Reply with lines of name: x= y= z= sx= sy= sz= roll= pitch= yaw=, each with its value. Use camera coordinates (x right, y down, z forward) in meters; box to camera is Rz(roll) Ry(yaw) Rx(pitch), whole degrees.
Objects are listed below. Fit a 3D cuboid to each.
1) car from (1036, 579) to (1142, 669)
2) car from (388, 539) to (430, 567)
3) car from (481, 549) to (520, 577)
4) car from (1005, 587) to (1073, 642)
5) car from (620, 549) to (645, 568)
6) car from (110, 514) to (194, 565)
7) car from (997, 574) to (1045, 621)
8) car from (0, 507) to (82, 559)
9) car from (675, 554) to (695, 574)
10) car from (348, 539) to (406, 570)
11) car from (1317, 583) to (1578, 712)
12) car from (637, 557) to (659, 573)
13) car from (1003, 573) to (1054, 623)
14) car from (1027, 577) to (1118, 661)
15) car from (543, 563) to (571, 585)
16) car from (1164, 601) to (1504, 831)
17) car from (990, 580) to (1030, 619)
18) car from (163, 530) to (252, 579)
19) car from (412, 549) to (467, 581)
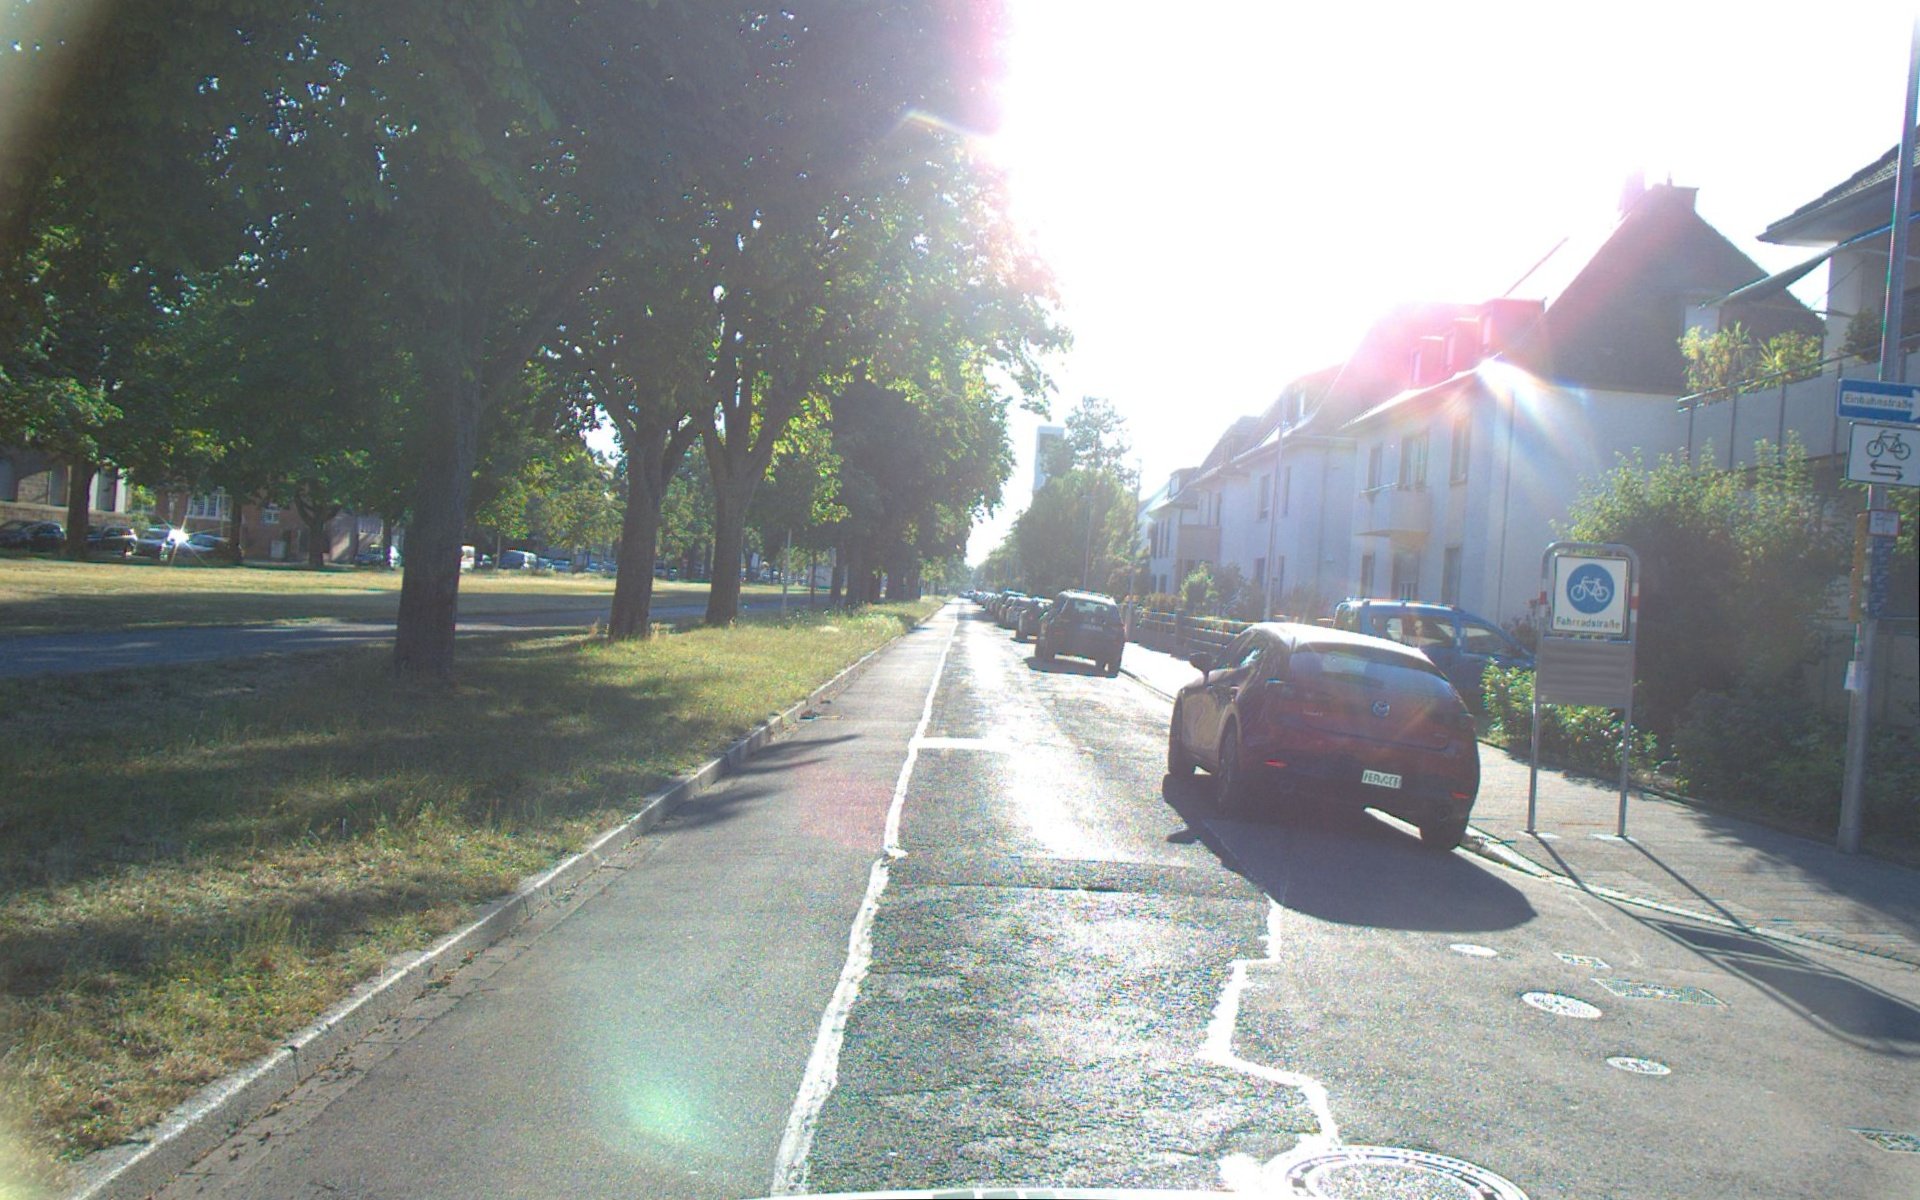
car: x=2.987 y=0.510 z=39.055 sx=1.954 sy=1.811 sz=4.000 roll=6 pitch=1 yaw=-1
car: x=-38.960 y=-3.297 z=116.956 sx=1.607 sy=1.671 sz=3.853 roll=6 pitch=-1 yaw=-2
car: x=-34.254 y=-2.743 z=123.340 sx=1.694 sy=1.718 sz=3.877 roll=6 pitch=-2 yaw=-2
car: x=2.673 y=0.494 z=56.854 sx=1.953 sy=1.682 sz=3.999 roll=5 pitch=-1 yaw=-1
car: x=-38.904 y=-4.946 z=196.349 sx=1.954 sy=1.946 sz=3.999 roll=6 pitch=-1 yaw=0
car: x=-38.878 y=-2.889 z=79.719 sx=1.954 sy=2.048 sz=3.998 roll=6 pitch=-1 yaw=-2
car: x=3.012 y=-0.116 z=82.524 sx=1.954 sy=2.048 sz=3.999 roll=6 pitch=-1 yaw=-1
car: x=-38.625 y=-2.811 z=68.896 sx=1.827 sy=1.833 sz=3.915 roll=6 pitch=-1 yaw=0
car: x=-31.573 y=-4.125 z=190.037 sx=1.621 sy=1.971 sz=3.566 roll=6 pitch=-2 yaw=-1
car: x=-38.160 y=-2.962 z=108.399 sx=1.953 sy=1.687 sz=4.355 roll=6 pitch=-1 yaw=1
car: x=8.329 y=0.851 z=28.434 sx=3.909 sy=1.854 sz=1.758 roll=4 pitch=-5 yaw=-4
car: x=-39.948 y=-4.450 z=211.763 sx=1.842 sy=1.781 sz=3.797 roll=6 pitch=-1 yaw=0
car: x=3.155 y=-0.085 z=76.935 sx=1.954 sy=2.048 sz=3.999 roll=6 pitch=-1 yaw=-1
car: x=2.895 y=0.494 z=43.511 sx=1.845 sy=1.891 sz=3.999 roll=6 pitch=-1 yaw=-1
car: x=-38.863 y=-2.490 z=159.587 sx=1.695 sy=1.792 sz=3.345 roll=6 pitch=-1 yaw=0
car: x=2.806 y=0.812 z=13.371 sx=1.675 sy=1.382 sz=4.202 roll=6 pitch=-1 yaw=0
car: x=2.921 y=-0.020 z=96.820 sx=1.954 sy=2.048 sz=3.999 roll=6 pitch=-1 yaw=-1
car: x=-33.118 y=-1.965 z=72.898 sx=1.775 sy=1.811 sz=4.122 roll=6 pitch=-1 yaw=1
car: x=-32.588 y=-2.188 z=103.699 sx=1.982 sy=1.687 sz=3.984 roll=6 pitch=-1 yaw=0
